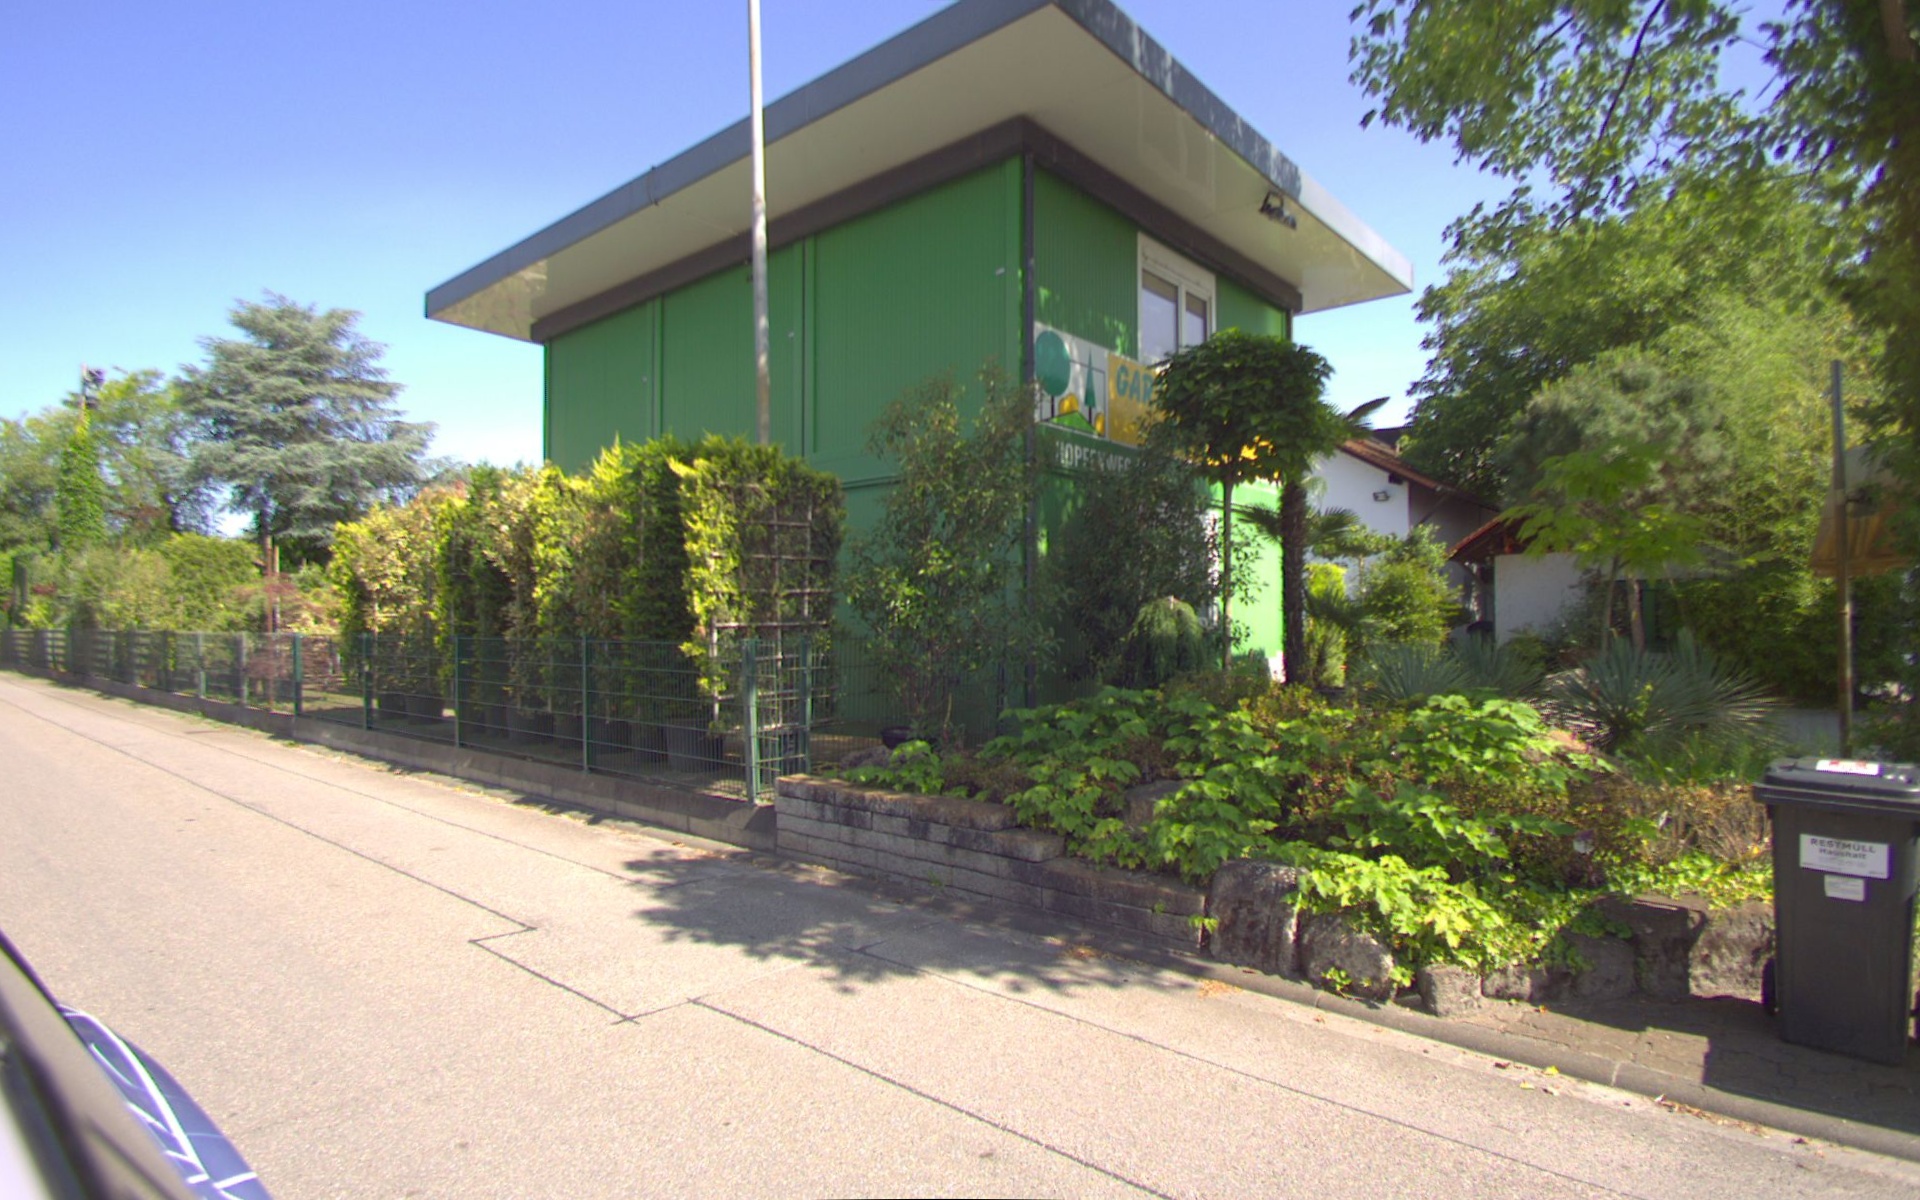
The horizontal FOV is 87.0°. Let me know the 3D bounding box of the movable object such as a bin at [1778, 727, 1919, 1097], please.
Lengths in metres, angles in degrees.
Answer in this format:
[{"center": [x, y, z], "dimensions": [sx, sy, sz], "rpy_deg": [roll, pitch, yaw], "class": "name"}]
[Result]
[{"center": [3.042, 0.975, 3.276], "dimensions": [0.568, 1.032, 0.576], "rpy_deg": [-2, -1, 41], "class": "movable object such as a bin"}]
